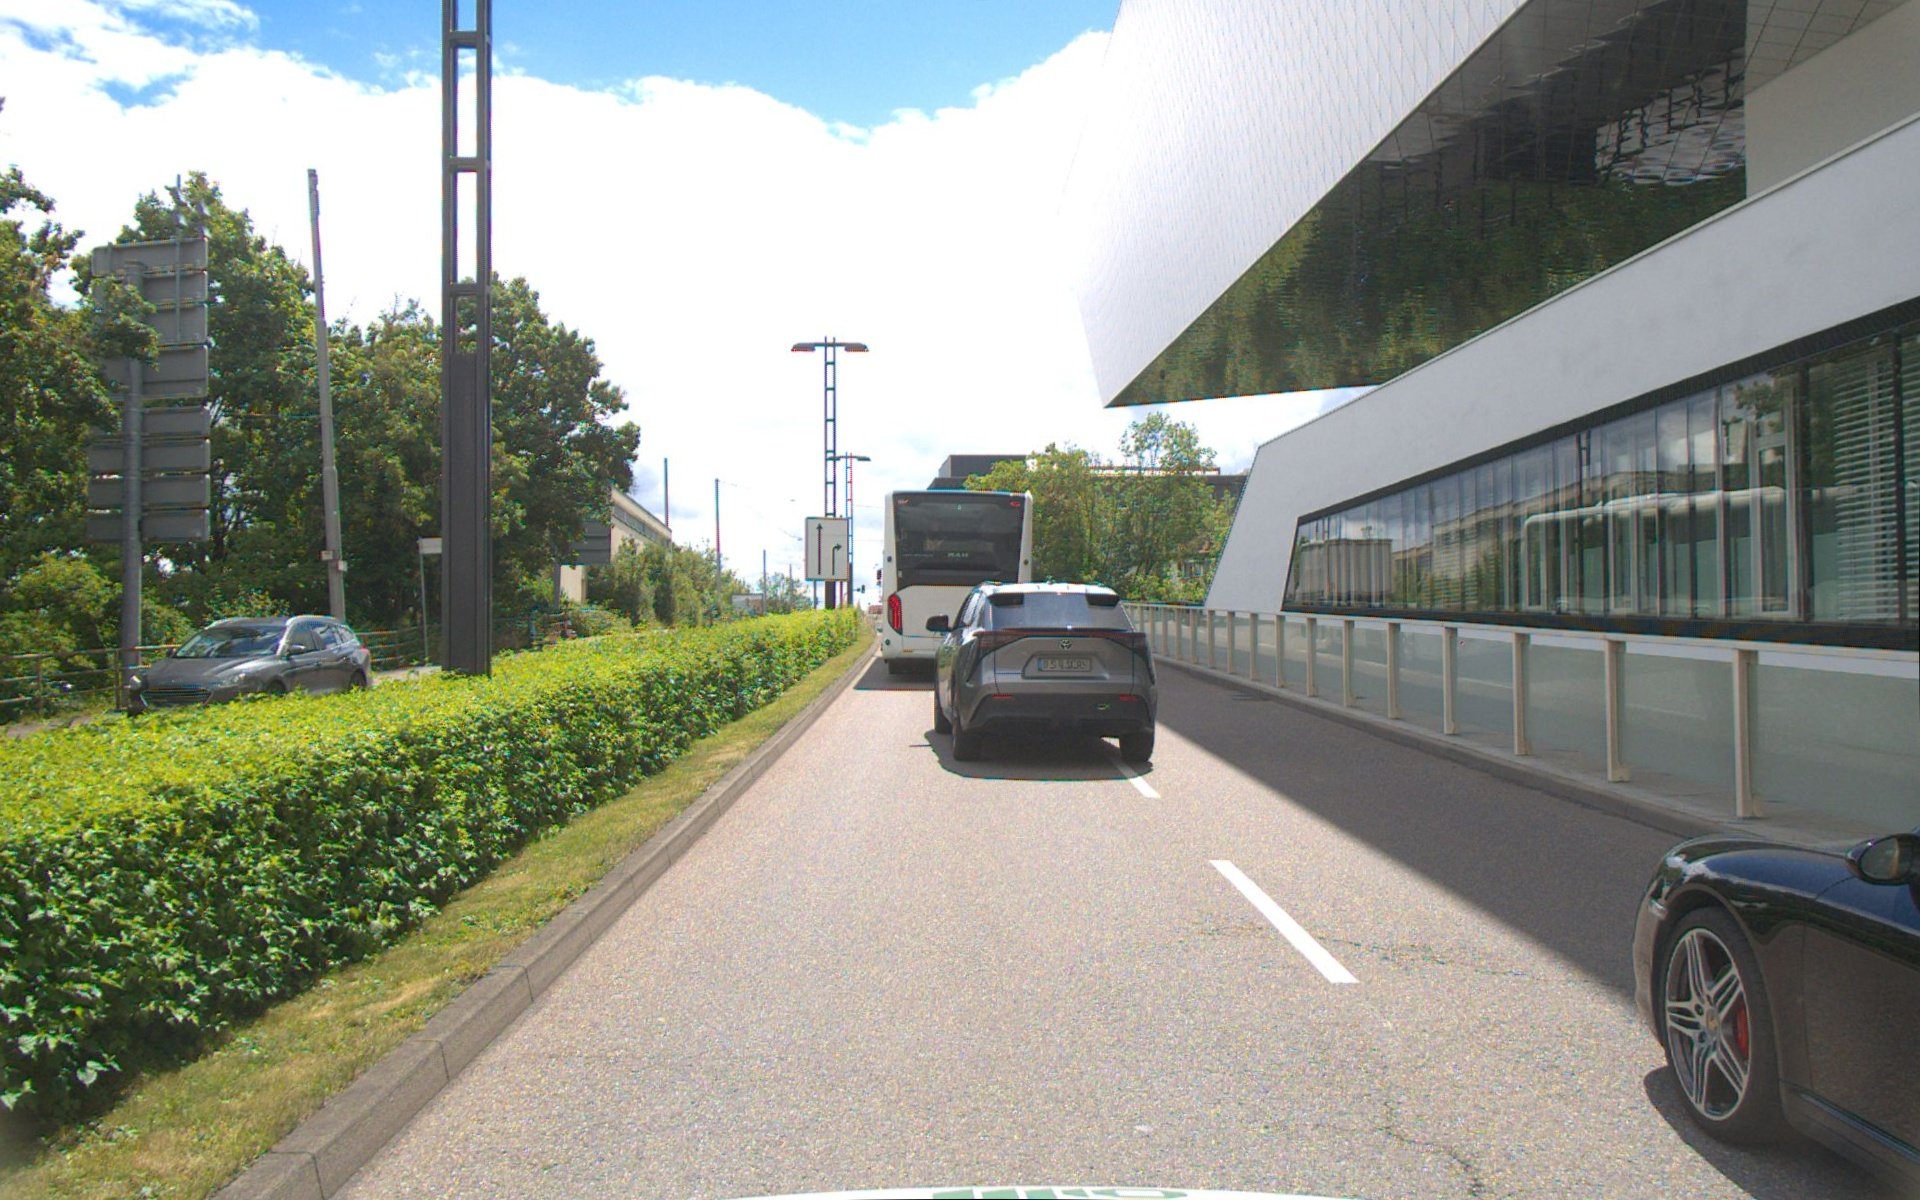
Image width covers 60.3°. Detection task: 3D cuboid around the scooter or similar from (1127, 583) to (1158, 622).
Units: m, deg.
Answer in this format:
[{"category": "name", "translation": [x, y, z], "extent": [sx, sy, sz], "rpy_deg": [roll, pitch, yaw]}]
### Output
[{"category": "scooter or similar", "translation": [5.954, 0.082, 54.098], "extent": [0.640, 1.235, 1.856], "rpy_deg": [-1, 0, -4]}]

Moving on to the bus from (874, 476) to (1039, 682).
[{"category": "bus", "translation": [-0.099, -0.445, 33.033], "extent": [2.634, 3.312, 12.057], "rpy_deg": [1, 1, 0]}]

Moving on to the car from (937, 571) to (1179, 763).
[{"category": "car", "translation": [0.806, 0.580, 16.173], "extent": [1.842, 1.622, 4.226], "rpy_deg": [1, 0, -4]}]

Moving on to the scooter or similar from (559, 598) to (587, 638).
[{"category": "scooter or similar", "translation": [-12.516, 0.569, 53.562], "extent": [0.481, 1.237, 1.643], "rpy_deg": [-1, 0, 1]}]

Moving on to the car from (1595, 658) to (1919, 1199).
[{"category": "car", "translation": [2.968, 0.840, 3.427], "extent": [1.685, 1.297, 4.087], "rpy_deg": [0, 0, -1]}]

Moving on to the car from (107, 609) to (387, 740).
[{"category": "car", "translation": [-9.645, 0.941, 22.815], "extent": [1.802, 1.534, 4.561], "rpy_deg": [-1, 0, 1]}]

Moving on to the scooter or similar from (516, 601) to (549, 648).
[{"category": "scooter or similar", "translation": [-12.412, 0.695, 48.050], "extent": [0.481, 1.327, 1.643], "rpy_deg": [1, 0, 1]}]
